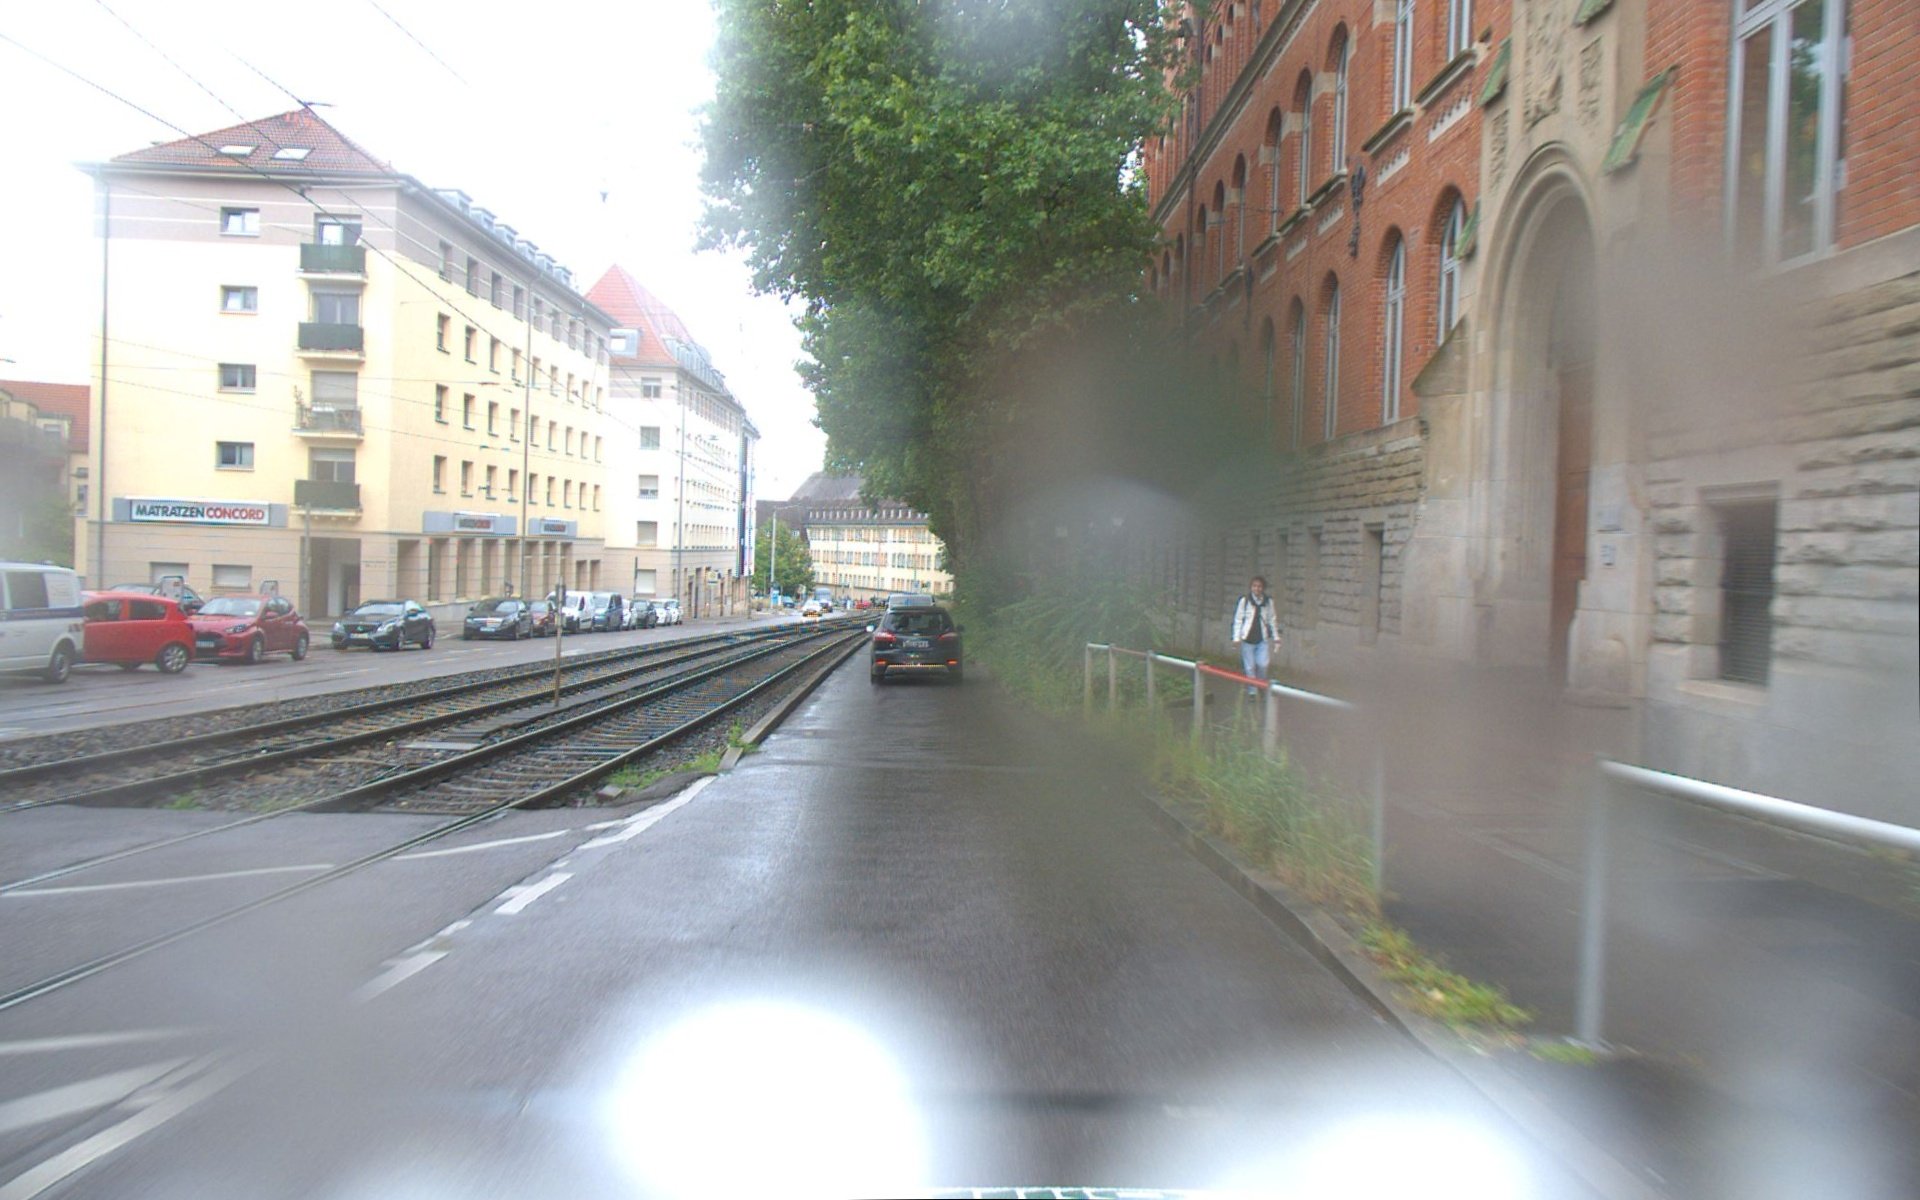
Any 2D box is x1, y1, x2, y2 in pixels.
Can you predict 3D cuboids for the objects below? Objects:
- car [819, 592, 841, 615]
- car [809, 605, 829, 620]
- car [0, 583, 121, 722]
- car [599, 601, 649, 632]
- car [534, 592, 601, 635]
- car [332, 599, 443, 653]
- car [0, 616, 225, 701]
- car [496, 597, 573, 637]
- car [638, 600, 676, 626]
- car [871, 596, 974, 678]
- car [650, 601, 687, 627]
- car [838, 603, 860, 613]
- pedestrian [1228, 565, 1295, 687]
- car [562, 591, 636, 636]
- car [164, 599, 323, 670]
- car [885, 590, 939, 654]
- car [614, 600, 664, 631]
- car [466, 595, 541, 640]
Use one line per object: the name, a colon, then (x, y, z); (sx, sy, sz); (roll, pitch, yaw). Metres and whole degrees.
car: (-14.522, 0.412, 185.144); (1.953, 2.495, 5.997); (1, -1, 0)
car: (-13.664, 1.223, 160.446); (1.677, 1.488, 4.280); (0, 0, 0)
car: (-15.808, 0.796, 26.457); (2.028, 2.044, 5.300); (4, 0, -1)
car: (-16.659, 0.812, 82.144); (1.657, 1.464, 4.048); (0, 0, -1)
car: (-16.821, 0.577, 71.019); (1.829, 1.747, 4.459); (1, -1, -1)
car: (-15.948, 0.708, 46.327); (1.646, 1.420, 4.620); (1, -1, -2)
car: (-16.203, 1.064, 31.196); (1.748, 1.459, 3.971); (1, -1, 33)
car: (-16.788, 0.672, 65.447); (1.814, 1.457, 4.830); (2, -1, -1)
car: (-17.376, 0.743, 94.914); (1.670, 1.421, 3.932); (2, 0, -5)
car: (-0.788, 0.711, 33.094); (1.894, 1.478, 4.315); (1, -1, -2)
car: (-17.548, 0.858, 99.656); (1.674, 1.475, 3.539); (3, -1, -3)
car: (-17.130, 1.222, 254.609); (1.970, 1.569, 3.964); (-1, 0, -27)
pedestrian: (4.300, 0.369, 23.639); (0.806, 1.708, 0.860); (0, -1, 1)
car: (-16.755, 0.628, 77.008); (1.952, 1.938, 5.461); (2, 0, 2)
car: (-15.918, 0.748, 36.969); (1.619, 1.477, 4.075); (0, -1, 2)
car: (-1.649, 0.732, 55.892); (1.706, 2.049, 3.901); (1, -1, -3)
car: (-16.805, 0.802, 86.722); (1.776, 1.525, 4.581); (2, 0, -1)
car: (-16.421, 0.638, 59.679); (1.816, 1.534, 4.985); (1, -1, -6)
